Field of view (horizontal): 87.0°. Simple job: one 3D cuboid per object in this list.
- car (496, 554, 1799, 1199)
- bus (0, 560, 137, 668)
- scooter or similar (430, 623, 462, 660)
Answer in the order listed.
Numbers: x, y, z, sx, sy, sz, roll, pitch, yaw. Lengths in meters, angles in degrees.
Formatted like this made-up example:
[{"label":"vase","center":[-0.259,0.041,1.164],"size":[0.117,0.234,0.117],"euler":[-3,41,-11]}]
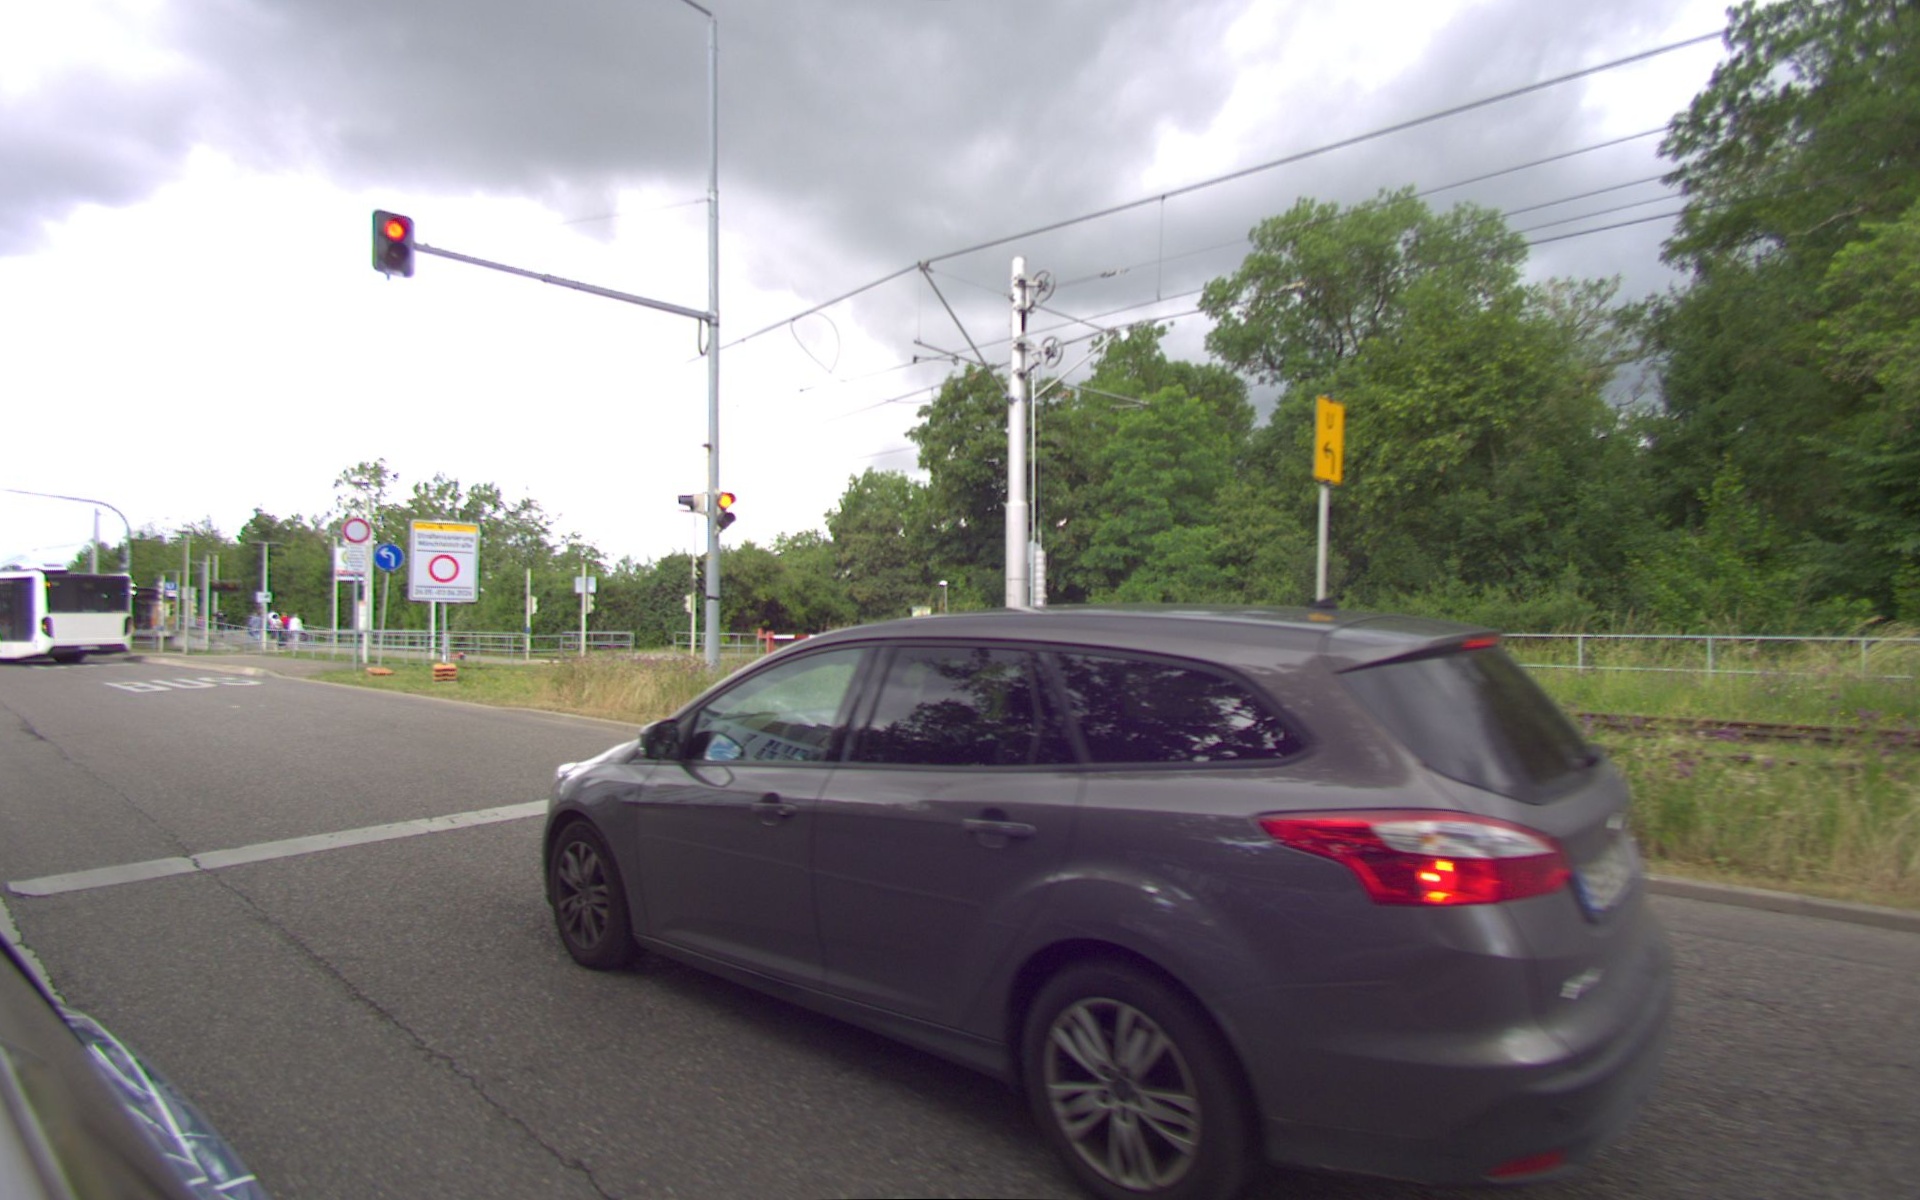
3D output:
[{"label":"car","center":[0.171,0.687,3.703],"size":[4.426,1.445,1.737],"euler":[-1,-1,41]},{"label":"bus","center":[-32.715,0.457,34.212],"size":[12.131,3.227,2.652],"euler":[0,-1,26]},{"label":"scooter or similar","center":[-18.174,1.470,35.799],"size":[1.264,1.281,0.407],"euler":[-1,-2,31]}]
